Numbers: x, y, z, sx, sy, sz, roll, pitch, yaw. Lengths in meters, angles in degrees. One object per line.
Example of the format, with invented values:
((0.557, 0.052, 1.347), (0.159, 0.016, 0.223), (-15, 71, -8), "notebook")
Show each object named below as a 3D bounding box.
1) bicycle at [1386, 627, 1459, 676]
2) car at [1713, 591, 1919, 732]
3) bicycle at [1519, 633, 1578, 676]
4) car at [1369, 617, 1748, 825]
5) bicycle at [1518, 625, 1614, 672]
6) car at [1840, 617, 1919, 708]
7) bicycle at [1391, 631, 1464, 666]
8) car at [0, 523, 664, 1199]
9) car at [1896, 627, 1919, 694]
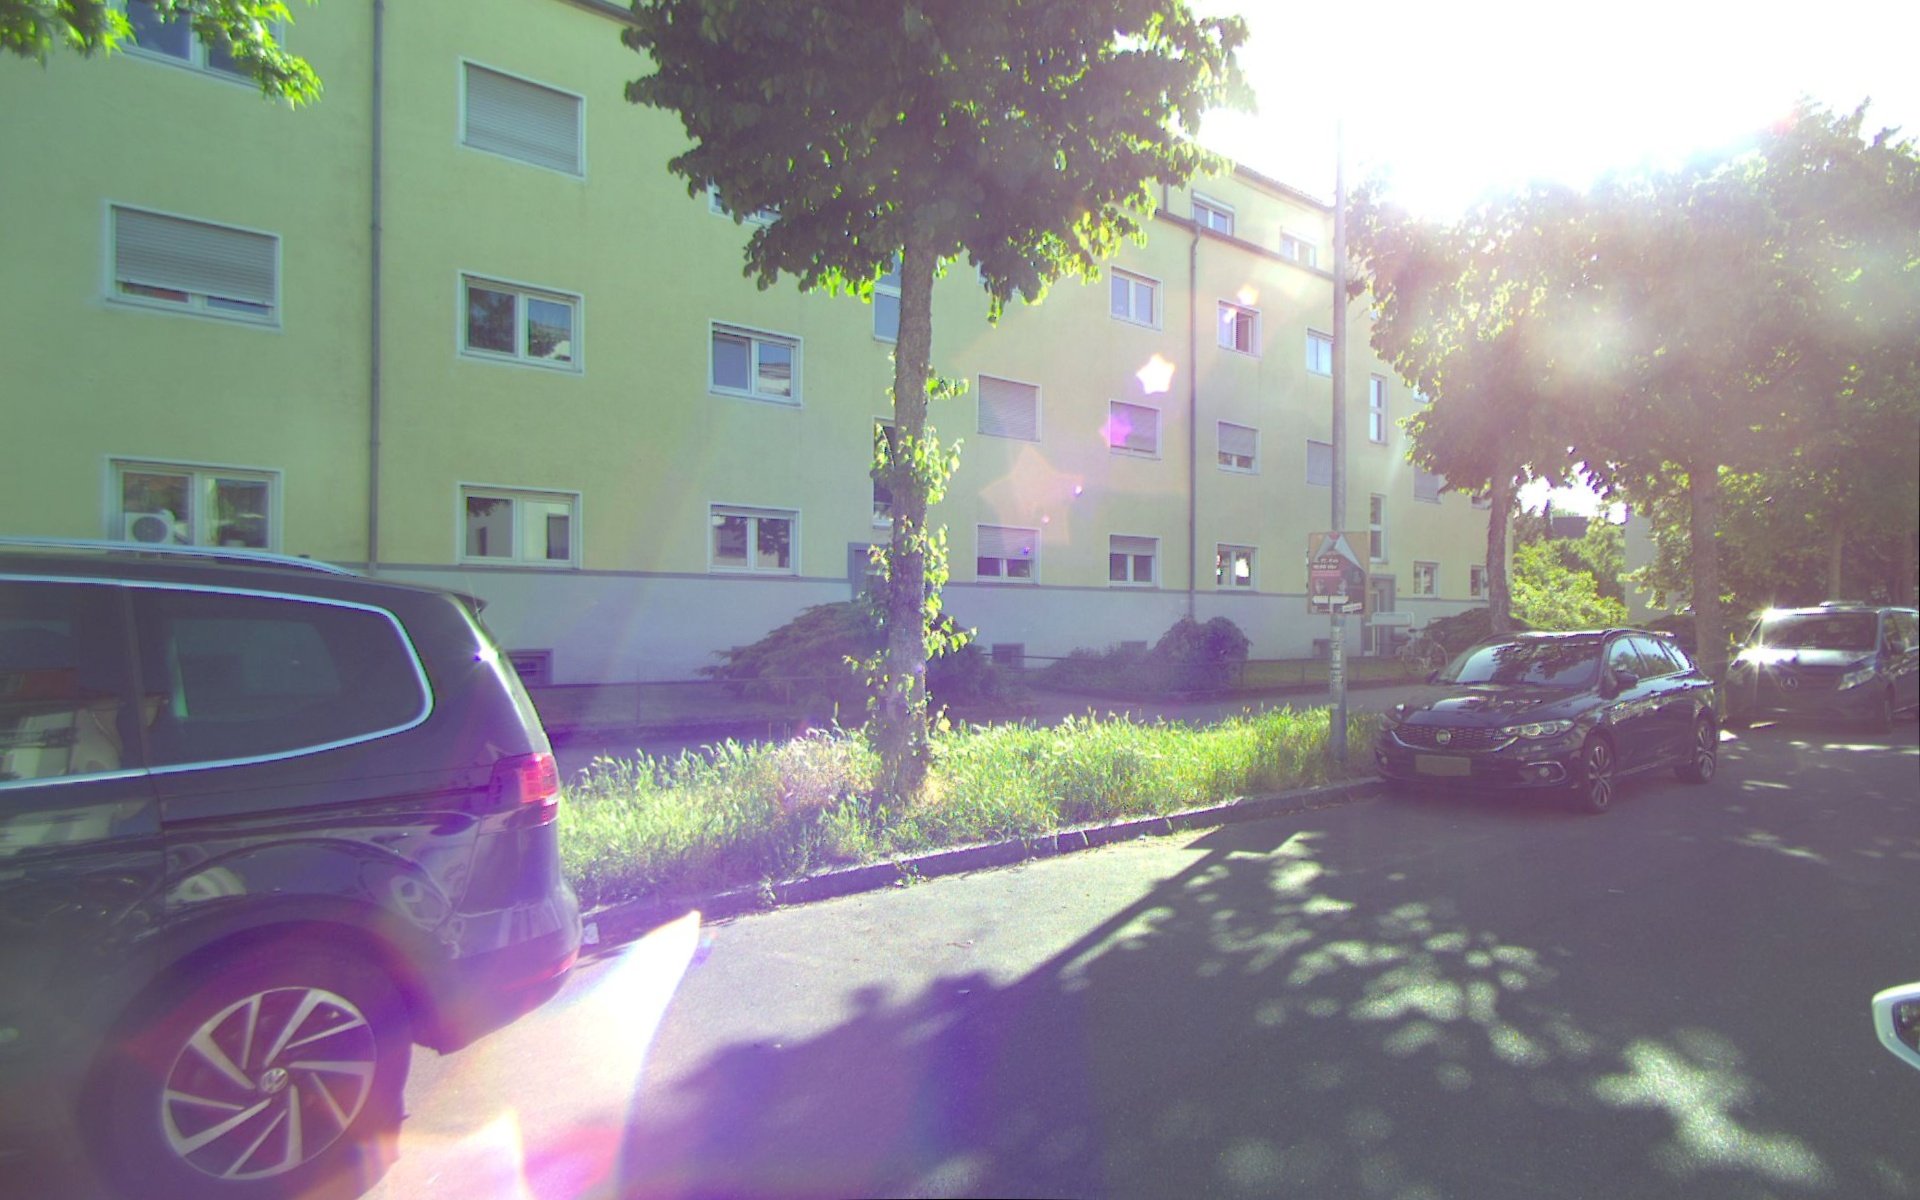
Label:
((9.870, 1.078, 21.413), (1.910, 1.005, 0.590), (1, -1, -38), "bicycle")
((14.040, 0.915, 16.072), (5.094, 1.929, 1.813), (1, -3, -37), "car")
((14.610, 1.333, 24.931), (1.910, 1.005, 0.590), (1, -1, -38), "bicycle")
((5.913, 0.994, 9.663), (4.736, 1.568, 1.496), (1, -4, -38), "car")
((16.425, 1.306, 27.263), (2.121, 1.224, 0.686), (-1, -2, 43), "bicycle")
((18.542, 1.157, 19.472), (4.195, 1.632, 1.599), (1, -2, -40), "car")
((13.950, 1.424, 30.031), (0.592, 1.005, 1.903), (1, -2, -44), "bicycle")
((-3.432, 0.716, 2.382), (4.932, 1.702, 1.836), (1, -4, -38), "car")
((22.675, 1.340, 22.724), (4.022, 1.446, 1.600), (1, -2, -38), "car")
